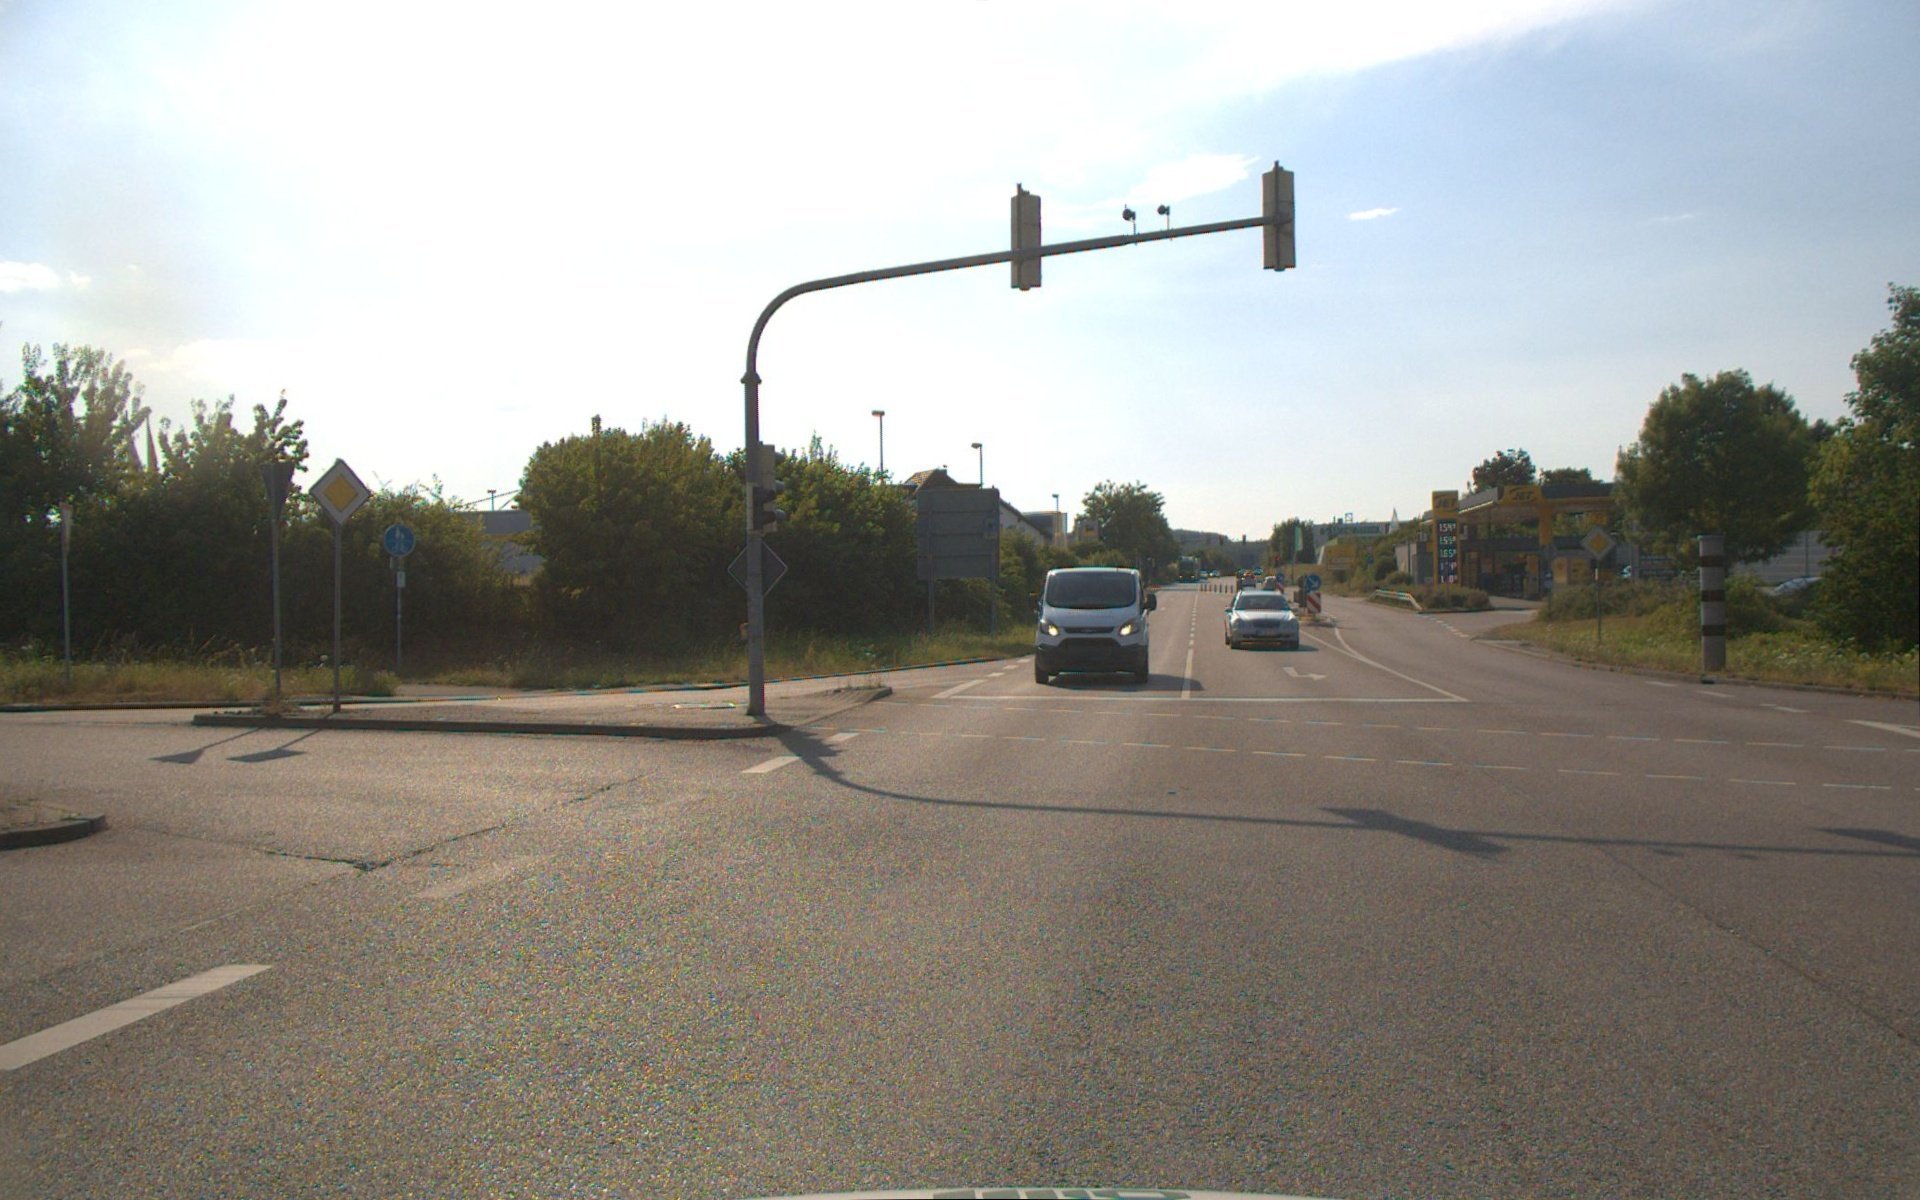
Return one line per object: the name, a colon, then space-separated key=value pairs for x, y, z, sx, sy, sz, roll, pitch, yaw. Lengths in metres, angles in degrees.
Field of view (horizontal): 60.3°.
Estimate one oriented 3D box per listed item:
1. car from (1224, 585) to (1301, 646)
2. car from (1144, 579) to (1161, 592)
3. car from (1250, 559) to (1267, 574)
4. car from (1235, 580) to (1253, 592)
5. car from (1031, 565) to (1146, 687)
car: x=8.197 y=0.422 z=45.132 sx=1.817 sy=1.540 sz=4.957 roll=1 pitch=-1 yaw=8
car: x=17.709 y=-1.362 z=152.324 sx=1.287 sy=1.169 sz=2.475 roll=1 pitch=-1 yaw=-1
car: x=42.490 y=-4.766 z=235.516 sx=1.951 sy=2.049 sz=4.002 roll=1 pitch=-1 yaw=4
car: x=32.210 y=-1.584 z=187.643 sx=1.704 sy=1.376 sz=3.205 roll=1 pitch=-1 yaw=4
car: x=2.357 y=0.370 z=29.690 sx=1.860 sy=1.981 sz=4.822 roll=1 pitch=1 yaw=6
